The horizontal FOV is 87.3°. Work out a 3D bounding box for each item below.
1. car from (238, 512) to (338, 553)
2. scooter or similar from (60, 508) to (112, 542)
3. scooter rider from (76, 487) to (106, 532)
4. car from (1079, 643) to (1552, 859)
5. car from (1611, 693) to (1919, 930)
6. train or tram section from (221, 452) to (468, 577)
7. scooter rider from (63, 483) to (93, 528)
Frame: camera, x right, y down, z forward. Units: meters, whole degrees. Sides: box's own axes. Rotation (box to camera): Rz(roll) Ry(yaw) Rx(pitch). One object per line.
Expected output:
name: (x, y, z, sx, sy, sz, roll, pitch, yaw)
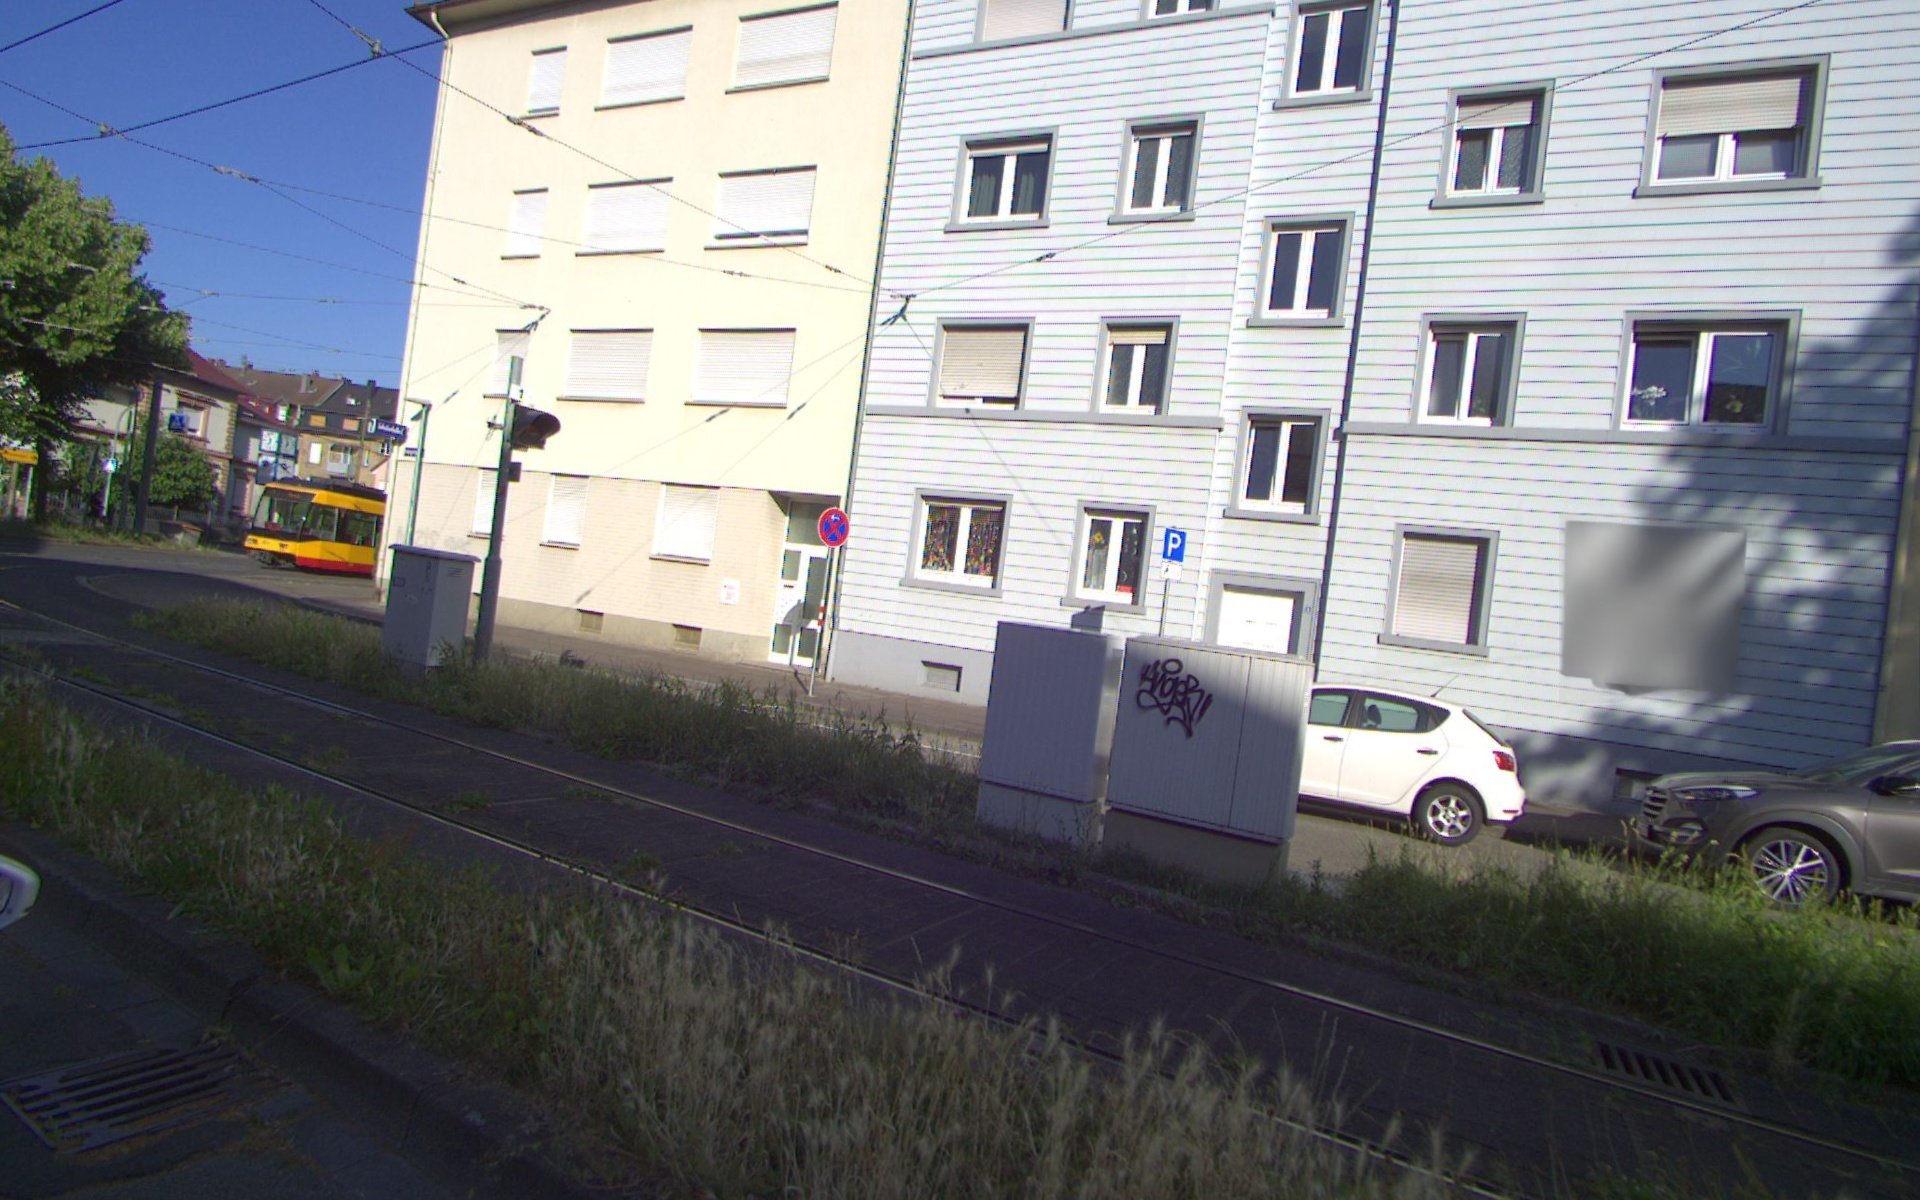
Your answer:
car: (-34.100, -3.404, 51.136, 1.929, 1.524, 3.683, 7, 1, 21)
scooter or similar: (-35.504, -3.051, 40.883, 1.388, 1.151, 0.681, 7, 1, -23)
scooter rider: (-35.316, -3.673, 40.893, 0.600, 1.694, 0.651, 6, 1, -23)
car: (3.749, 1.486, 11.097, 4.364, 1.404, 1.999, 8, 1, 21)
car: (8.683, 1.978, 8.830, 4.557, 1.592, 1.998, 7, 1, 24)
train or tram section: (-23.547, -3.054, 39.446, 2.732, 3.599, 9.922, 7, 0, 4)
scooter rider: (-35.669, -3.807, 40.703, 0.600, 1.694, 0.651, 6, 1, -23)
